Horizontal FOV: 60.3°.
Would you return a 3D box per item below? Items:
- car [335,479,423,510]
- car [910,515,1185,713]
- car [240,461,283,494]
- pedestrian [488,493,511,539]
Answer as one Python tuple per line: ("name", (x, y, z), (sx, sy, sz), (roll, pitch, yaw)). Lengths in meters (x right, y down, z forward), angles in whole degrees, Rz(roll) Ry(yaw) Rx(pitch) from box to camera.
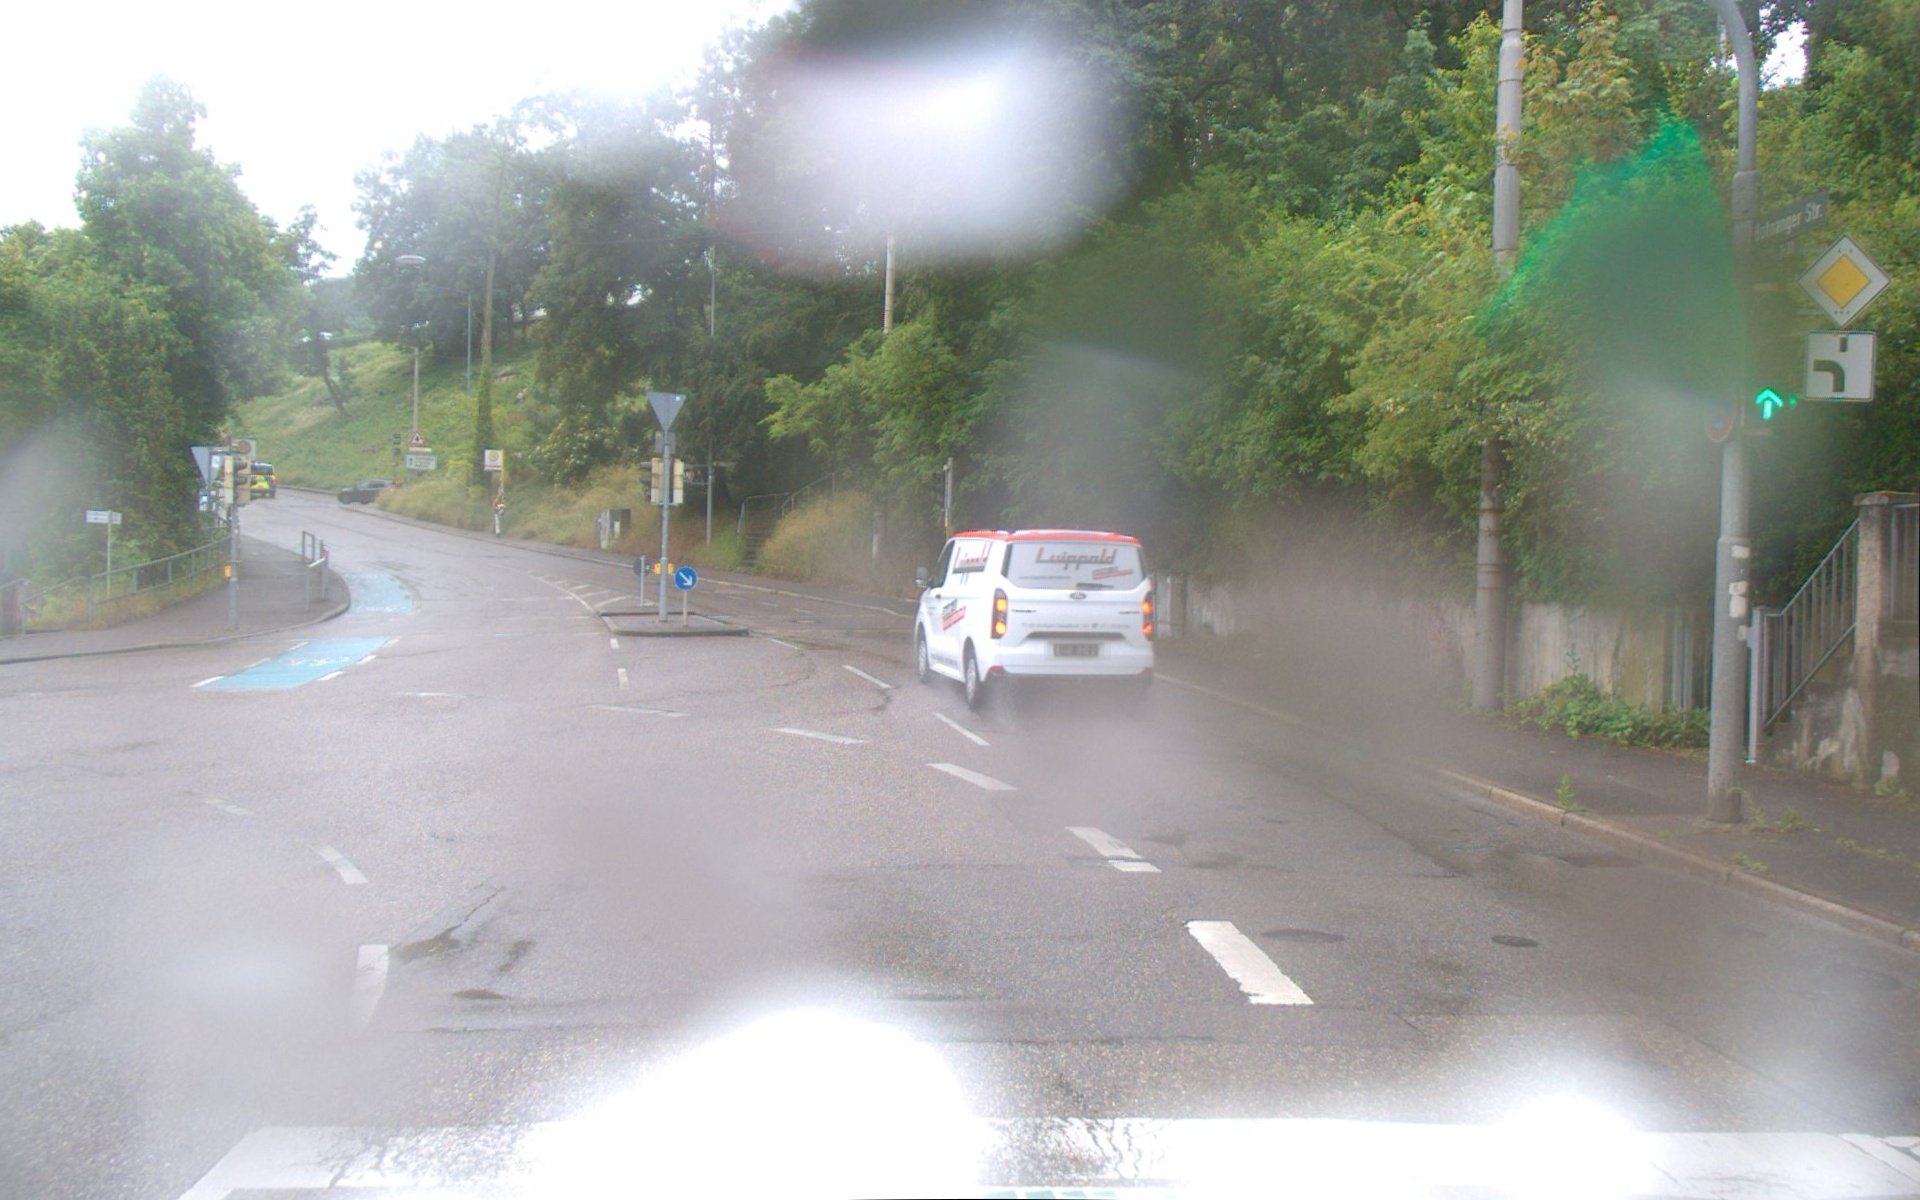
("car", (-33.075, -5.997, 94.157), (4.296, 1.538, 1.965), (3, 3, 11))
("car", (0.864, 0.087, 19.621), (2.030, 2.041, 4.800), (0, 1, -13))
("car", (-41.848, -7.320, 99.047), (1.897, 1.811, 3.962), (1, 2, -30))
("pedestrian", (-18.589, -3.393, 66.744), (0.867, 1.767, 0.861), (1, -1, -19))
